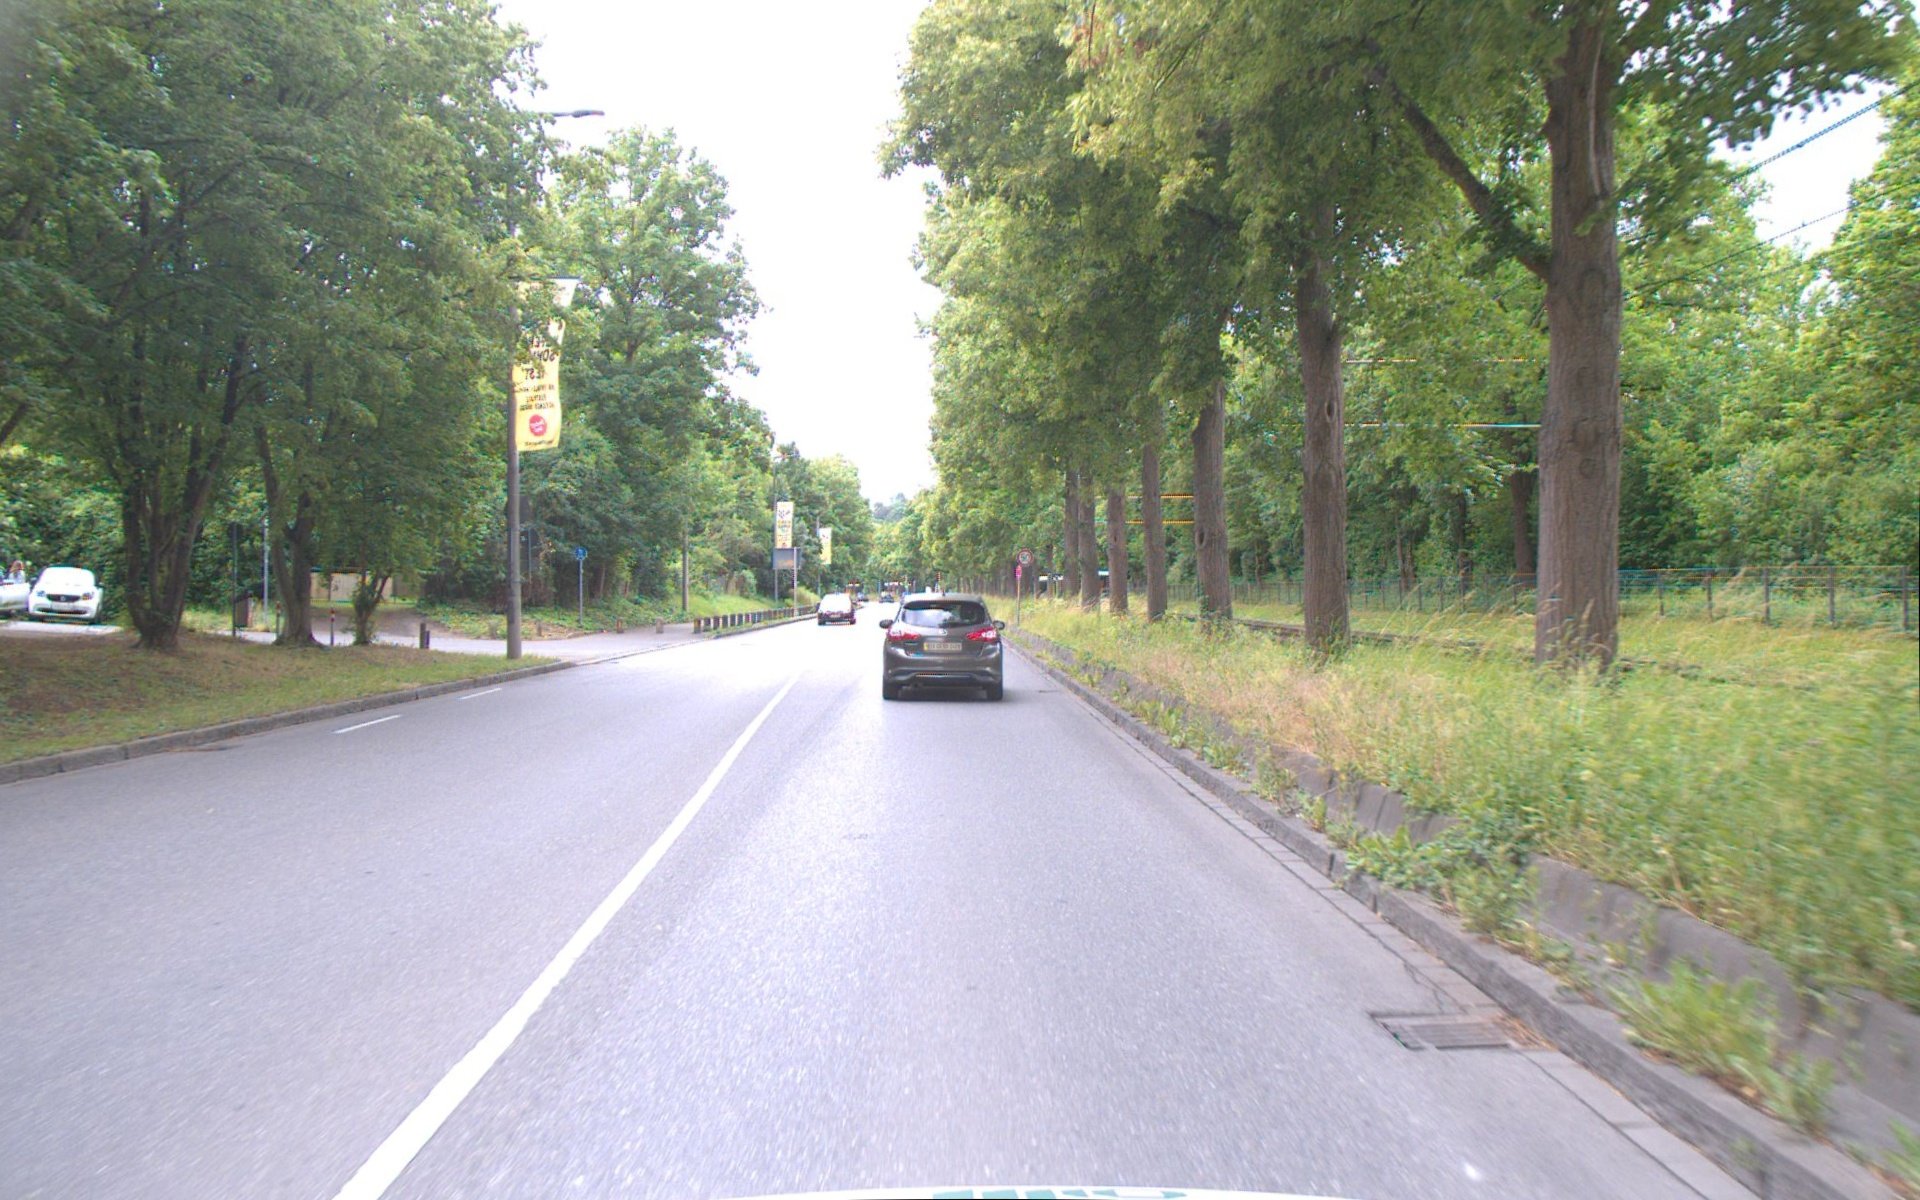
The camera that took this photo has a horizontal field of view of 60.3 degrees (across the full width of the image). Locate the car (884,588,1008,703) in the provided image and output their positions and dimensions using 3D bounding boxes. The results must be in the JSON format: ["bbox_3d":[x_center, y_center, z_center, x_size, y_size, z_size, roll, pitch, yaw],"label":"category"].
[{"bbox_3d":[-0.245,0.624,24.768,1.695,1.564,3.550,1,0,-2],"label":"car"}]

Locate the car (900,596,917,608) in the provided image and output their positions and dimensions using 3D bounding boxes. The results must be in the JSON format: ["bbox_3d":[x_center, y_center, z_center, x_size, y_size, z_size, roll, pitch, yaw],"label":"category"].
[{"bbox_3d":[-6.591,0.213,211.151,1.533,1.466,3.542,1,0,-11],"label":"car"}]

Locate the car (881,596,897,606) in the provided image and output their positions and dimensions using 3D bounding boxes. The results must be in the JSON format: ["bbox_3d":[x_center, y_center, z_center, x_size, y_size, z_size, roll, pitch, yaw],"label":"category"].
[{"bbox_3d":[-10.354,0.102,241.095,1.535,1.466,3.539,1,0,-13],"label":"car"}]

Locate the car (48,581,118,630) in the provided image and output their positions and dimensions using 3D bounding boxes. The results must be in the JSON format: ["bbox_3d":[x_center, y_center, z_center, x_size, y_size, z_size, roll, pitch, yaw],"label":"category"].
[{"bbox_3d":[-24.402,0.148,46.076,1.352,1.260,3.050,3,-1,-22],"label":"car"}]

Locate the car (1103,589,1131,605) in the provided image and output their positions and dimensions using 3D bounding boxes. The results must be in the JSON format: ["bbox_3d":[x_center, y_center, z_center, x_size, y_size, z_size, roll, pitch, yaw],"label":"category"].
[{"bbox_3d":[14.500,-0.295,152.761,1.534,1.466,3.541,1,0,-12],"label":"car"}]

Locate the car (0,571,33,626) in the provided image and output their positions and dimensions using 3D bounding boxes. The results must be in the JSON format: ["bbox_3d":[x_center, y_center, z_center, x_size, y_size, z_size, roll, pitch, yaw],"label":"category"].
[{"bbox_3d":[-26.035,-0.072,44.635,1.352,1.426,3.050,3,-1,-22],"label":"car"}]

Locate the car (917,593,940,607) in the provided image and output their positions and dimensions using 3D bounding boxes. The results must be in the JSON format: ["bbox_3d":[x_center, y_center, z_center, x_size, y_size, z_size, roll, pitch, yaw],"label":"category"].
[{"bbox_3d":[-3.317,-0.030,173.791,1.536,1.466,3.537,1,0,-15],"label":"car"}]

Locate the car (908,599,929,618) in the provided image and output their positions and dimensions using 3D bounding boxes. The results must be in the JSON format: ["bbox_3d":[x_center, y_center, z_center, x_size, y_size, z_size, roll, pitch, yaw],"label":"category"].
[{"bbox_3d":[-3.314,0.636,132.655,1.529,1.466,3.552,1,0,1],"label":"car"}]

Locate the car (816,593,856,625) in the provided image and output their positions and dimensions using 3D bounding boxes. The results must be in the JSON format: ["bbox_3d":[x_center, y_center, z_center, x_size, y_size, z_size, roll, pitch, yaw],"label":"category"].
[{"bbox_3d":[-5.949,0.408,79.795,1.681,1.453,4.196,-2,0,-1],"label":"car"}]
